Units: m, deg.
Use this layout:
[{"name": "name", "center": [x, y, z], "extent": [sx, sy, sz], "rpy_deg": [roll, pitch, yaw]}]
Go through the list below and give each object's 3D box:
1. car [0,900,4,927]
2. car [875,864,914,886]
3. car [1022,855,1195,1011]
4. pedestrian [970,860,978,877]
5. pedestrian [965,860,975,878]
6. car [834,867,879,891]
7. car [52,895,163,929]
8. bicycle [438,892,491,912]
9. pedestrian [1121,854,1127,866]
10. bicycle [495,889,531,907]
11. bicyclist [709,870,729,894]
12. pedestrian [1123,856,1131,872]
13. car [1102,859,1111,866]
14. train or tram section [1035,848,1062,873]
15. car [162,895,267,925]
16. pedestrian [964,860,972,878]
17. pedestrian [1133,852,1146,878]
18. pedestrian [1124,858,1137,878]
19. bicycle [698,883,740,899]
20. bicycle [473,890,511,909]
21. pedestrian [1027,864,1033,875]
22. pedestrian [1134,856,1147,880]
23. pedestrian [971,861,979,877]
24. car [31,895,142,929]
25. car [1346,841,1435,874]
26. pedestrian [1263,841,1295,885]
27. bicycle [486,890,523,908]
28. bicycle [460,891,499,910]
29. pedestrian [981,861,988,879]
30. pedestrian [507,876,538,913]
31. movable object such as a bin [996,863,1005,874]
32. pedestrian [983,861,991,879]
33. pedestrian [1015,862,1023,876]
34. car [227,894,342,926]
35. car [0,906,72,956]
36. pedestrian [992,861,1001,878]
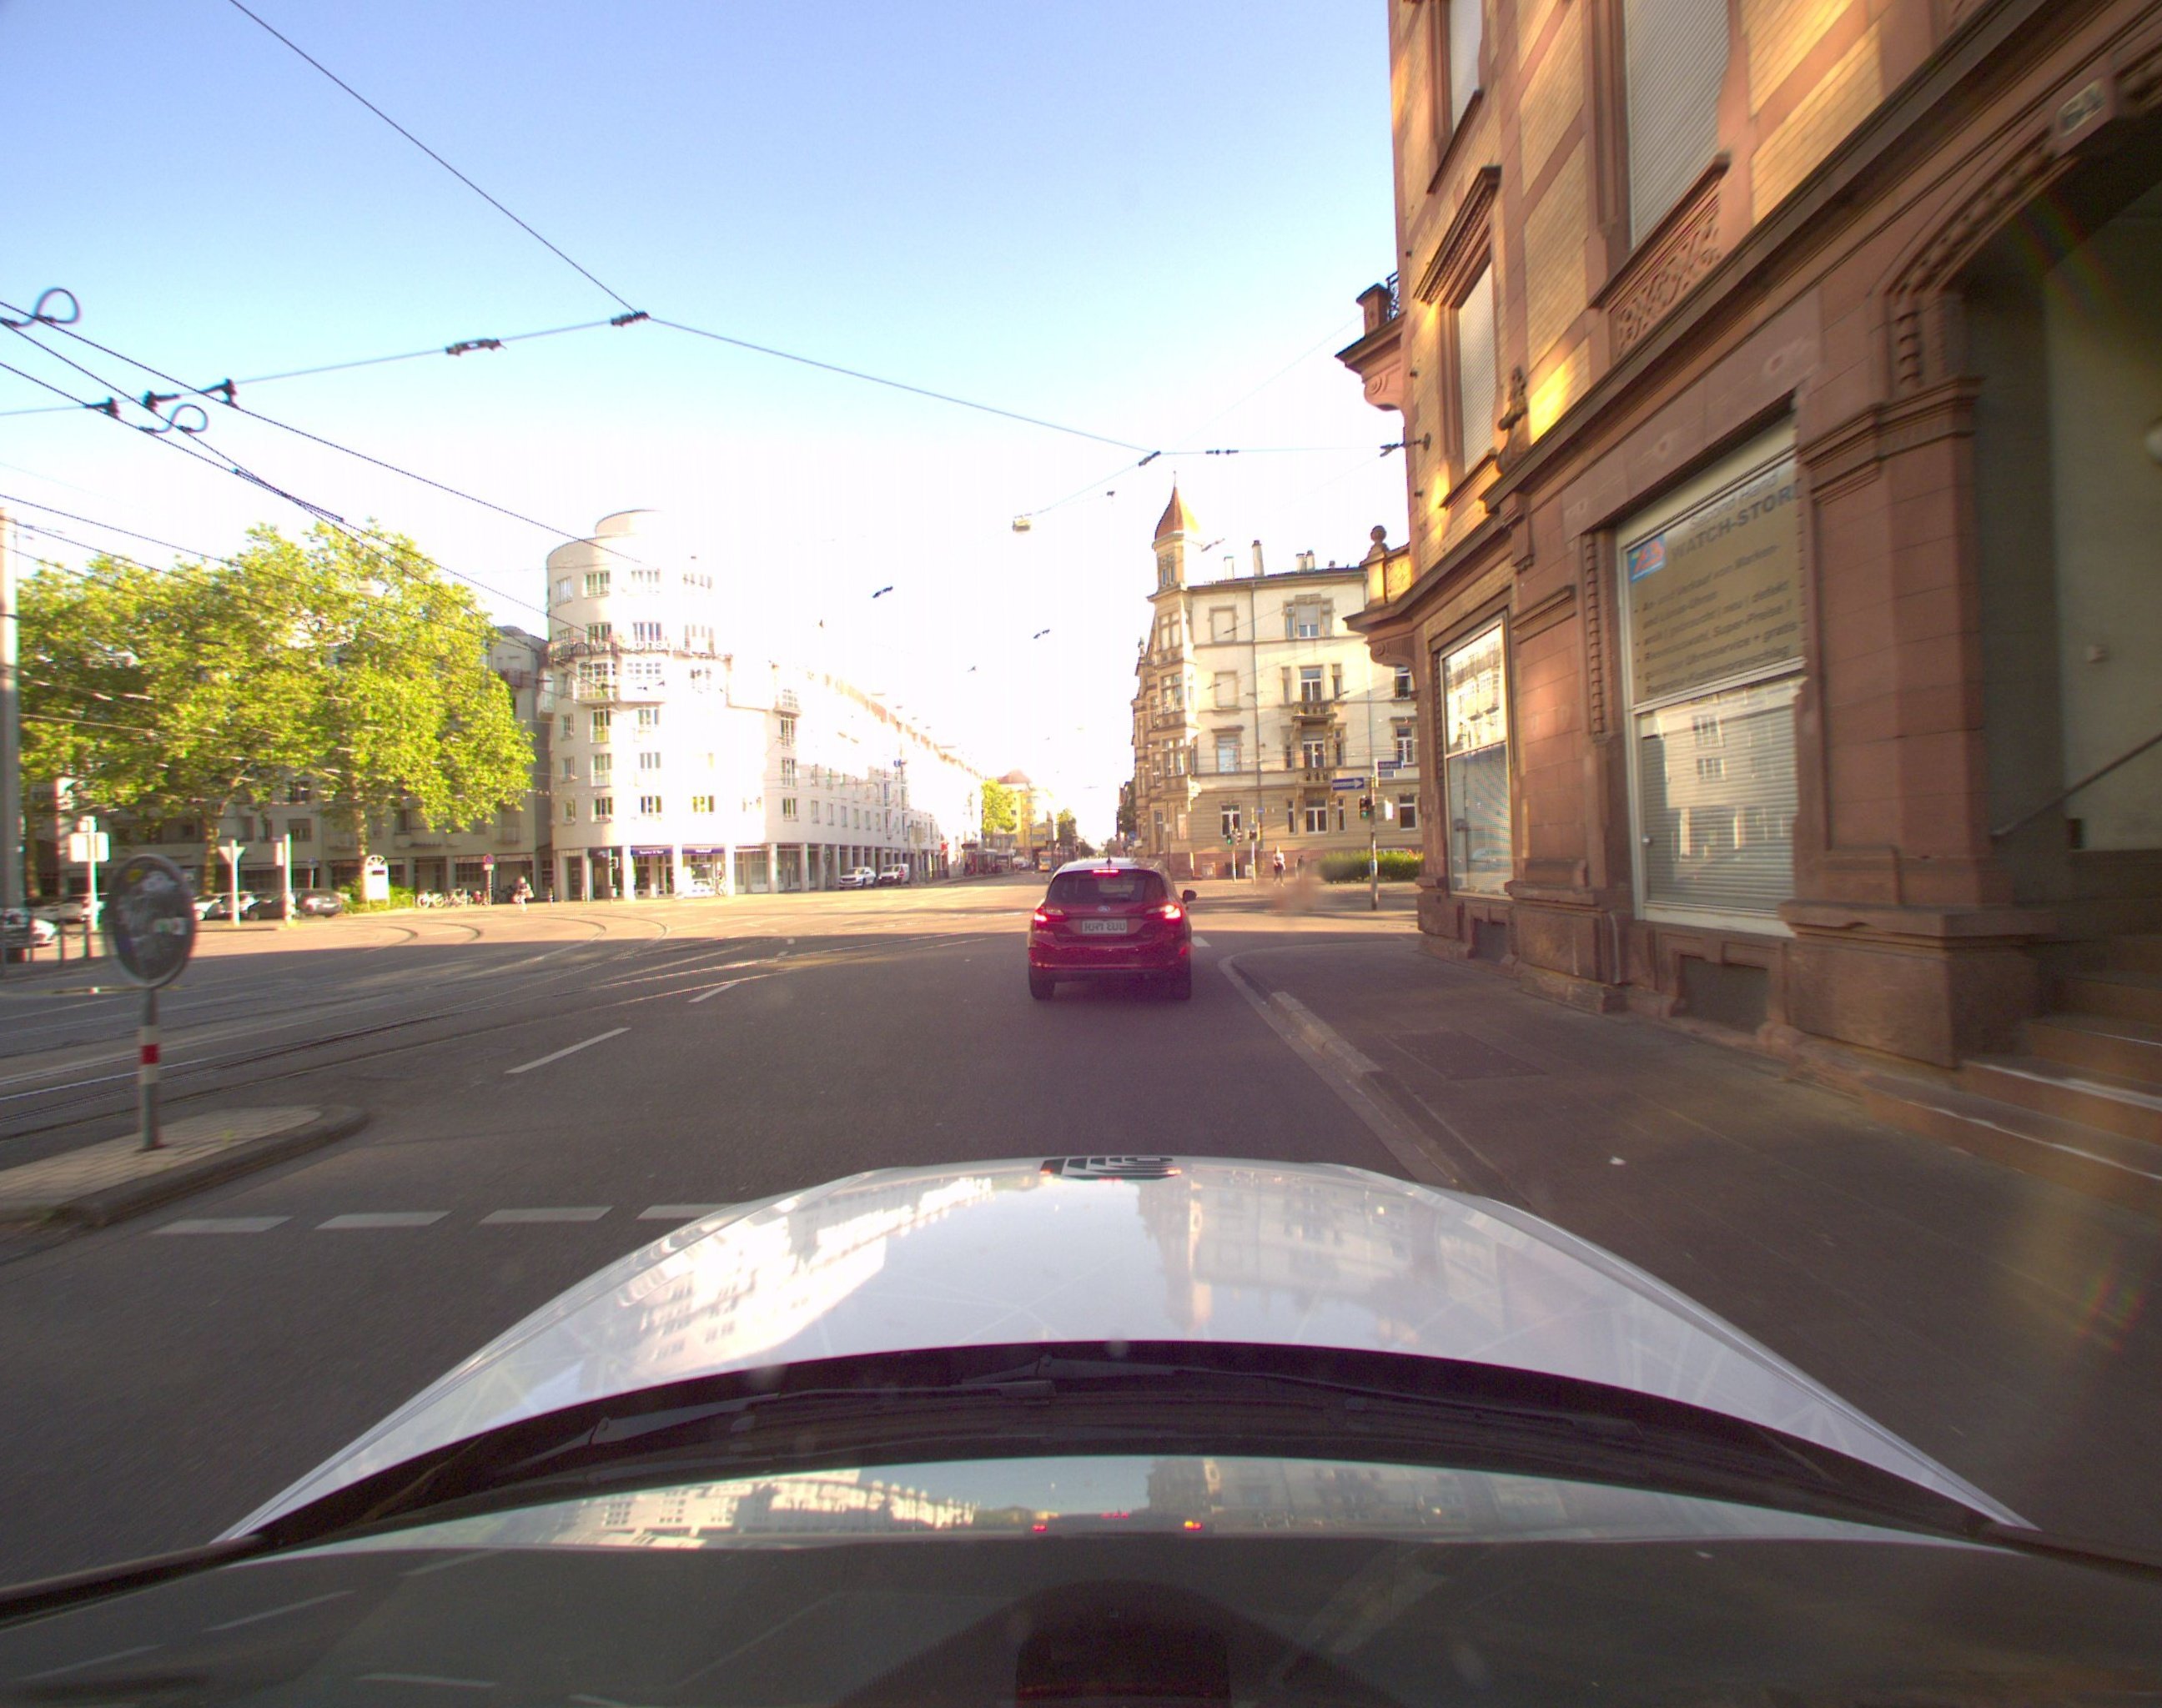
[{"name": "car", "center": [-69.514, 3.803, 49.848], "extent": [1.788, 1.715, 4.000], "rpy_deg": [-2, -1, 0]}, {"name": "car", "center": [-16.480, 1.820, 72.162], "extent": [1.986, 1.837, 5.348], "rpy_deg": [-2, -1, 1]}, {"name": "car", "center": [0.504, 0.774, 9.705], "extent": [1.682, 1.495, 3.588], "rpy_deg": [0, -1, 8]}, {"name": "pedestrian", "center": [-10.927, 1.500, 83.093], "extent": [0.698, 1.691, 0.667], "rpy_deg": [-1, -1, -22]}, {"name": "pedestrian", "center": [-11.031, 1.463, 80.922], "extent": [0.756, 1.733, 0.523], "rpy_deg": [-3, -2, 43]}, {"name": "car", "center": [-16.743, 1.864, 60.930], "extent": [1.986, 1.620, 4.512], "rpy_deg": [-2, -1, 1]}, {"name": "car", "center": [-57.983, 3.424, 48.618], "extent": [1.788, 1.715, 4.000], "rpy_deg": [-2, -1, 0]}, {"name": "bicycle", "center": [-38.739, 2.990, 51.225], "extent": [2.438, 1.107, 0.934], "rpy_deg": [-2, 0, -12]}, {"name": "pedestrian", "center": [6.506, 0.897, 122.229], "extent": [0.711, 1.602, 0.773], "rpy_deg": [-5, 0, -1]}, {"name": "bicycle", "center": [-39.044, 3.022, 55.972], "extent": [1.933, 1.107, 0.820], "rpy_deg": [-2, -1, 4]}, {"name": "bicyclist", "center": [-22.881, 1.773, 51.464], "extent": [0.833, 1.467, 0.902], "rpy_deg": [-3, -1, 44]}, {"name": "pedestrian", "center": [5.004, 1.102, 88.189], "extent": [0.760, 1.645, 0.832], "rpy_deg": [-4, 0, 1]}, {"name": "car", "center": [5.708, 1.985, 185.376], "extent": [1.986, 1.449, 4.002], "rpy_deg": [-2, 0, 2]}, {"name": "train or tram section", "center": [-4.887, 1.059, 127.047], "extent": [2.874, 3.490, 14.175], "rpy_deg": [-3, -1, 2]}, {"name": "car", "center": [-50.803, 3.248, 47.867], "extent": [1.788, 1.510, 4.000], "rpy_deg": [-2, -1, 0]}, {"name": "pedestrian", "center": [-10.971, 1.428, 78.902], "extent": [0.596, 1.691, 0.614], "rpy_deg": [-2, -1, 2]}, {"name": "pedestrian", "center": [4.151, 0.786, 57.785], "extent": [0.791, 1.721, 0.720], "rpy_deg": [-4, -2, 2]}, {"name": "pedestrian", "center": [3.463, 1.012, 57.476], "extent": [0.791, 1.331, 0.719], "rpy_deg": [-4, -2, 0]}, {"name": "bicycle", "center": [-22.875, 2.332, 51.446], "extent": [0.833, 0.927, 2.278], "rpy_deg": [-3, -1, 44]}, {"name": "bicycle", "center": [-38.948, 3.015, 53.869], "extent": [1.932, 1.107, 0.820], "rpy_deg": [-2, -1, 6]}, {"name": "pedestrian", "center": [-8.940, 2.640, 142.518], "extent": [0.879, 1.905, 0.930], "rpy_deg": [-2, -1, -14]}, {"name": "pedestrian", "center": [4.694, 1.098, 64.290], "extent": [0.798, 1.824, 0.798], "rpy_deg": [-4, 0, 1]}, {"name": "pedestrian", "center": [-11.032, 1.559, 84.858], "extent": [0.698, 1.691, 0.667], "rpy_deg": [-1, -1, -22]}, {"name": "car", "center": [-60.123, 3.478, 49.348], "extent": [1.788, 1.715, 4.000], "rpy_deg": [-2, -1, 0]}, {"name": "car", "center": [16.750, 0.211, 44.267], "extent": [4.232, 1.632, 1.950], "rpy_deg": [-2, -1, 9]}, {"name": "pedestrian", "center": [8.529, 0.393, 35.178], "extent": [1.020, 1.807, 1.082], "rpy_deg": [-2, -1, -2]}, {"name": "bicycle", "center": [-39.007, 3.019, 55.102], "extent": [1.933, 1.107, 0.820], "rpy_deg": [-2, -1, 4]}, {"name": "bicycle", "center": [-39.068, 3.017, 52.883], "extent": [1.932, 1.107, 0.820], "rpy_deg": [-2, -1, 6]}, {"name": "pedestrian", "center": [-10.540, 1.735, 89.014], "extent": [0.693, 1.905, 0.672], "rpy_deg": [-2, -1, -1]}, {"name": "pedestrian", "center": [-26.685, 1.932, 38.902], "extent": [0.863, 1.681, 0.699], "rpy_deg": [-3, 1, 10]}, {"name": "movable object such as a bin", "center": [-9.679, 1.788, 97.423], "extent": [0.934, 1.287, 0.934], "rpy_deg": [-2, -1, -1]}, {"name": "pedestrian", "center": [-10.356, 1.743, 89.570], "extent": [0.693, 1.905, 0.672], "rpy_deg": [-2, -1, -1]}, {"name": "pedestrian", "center": [-8.509, 2.115, 112.179], "extent": [0.879, 1.905, 0.930], "rpy_deg": [-2, -1, -14]}, {"name": "car", "center": [-42.206, 2.960, 43.229], "extent": [4.419, 1.421, 1.894], "rpy_deg": [-3, 0, 5]}, {"name": "car", "center": [-34.834, 2.493, 25.950], "extent": [4.405, 1.421, 1.900], "rpy_deg": [-3, -1, 18]}, {"name": "pedestrian", "center": [-9.448, 1.761, 91.031], "extent": [0.929, 1.905, 0.880], "rpy_deg": [-2, -1, -1]}]
